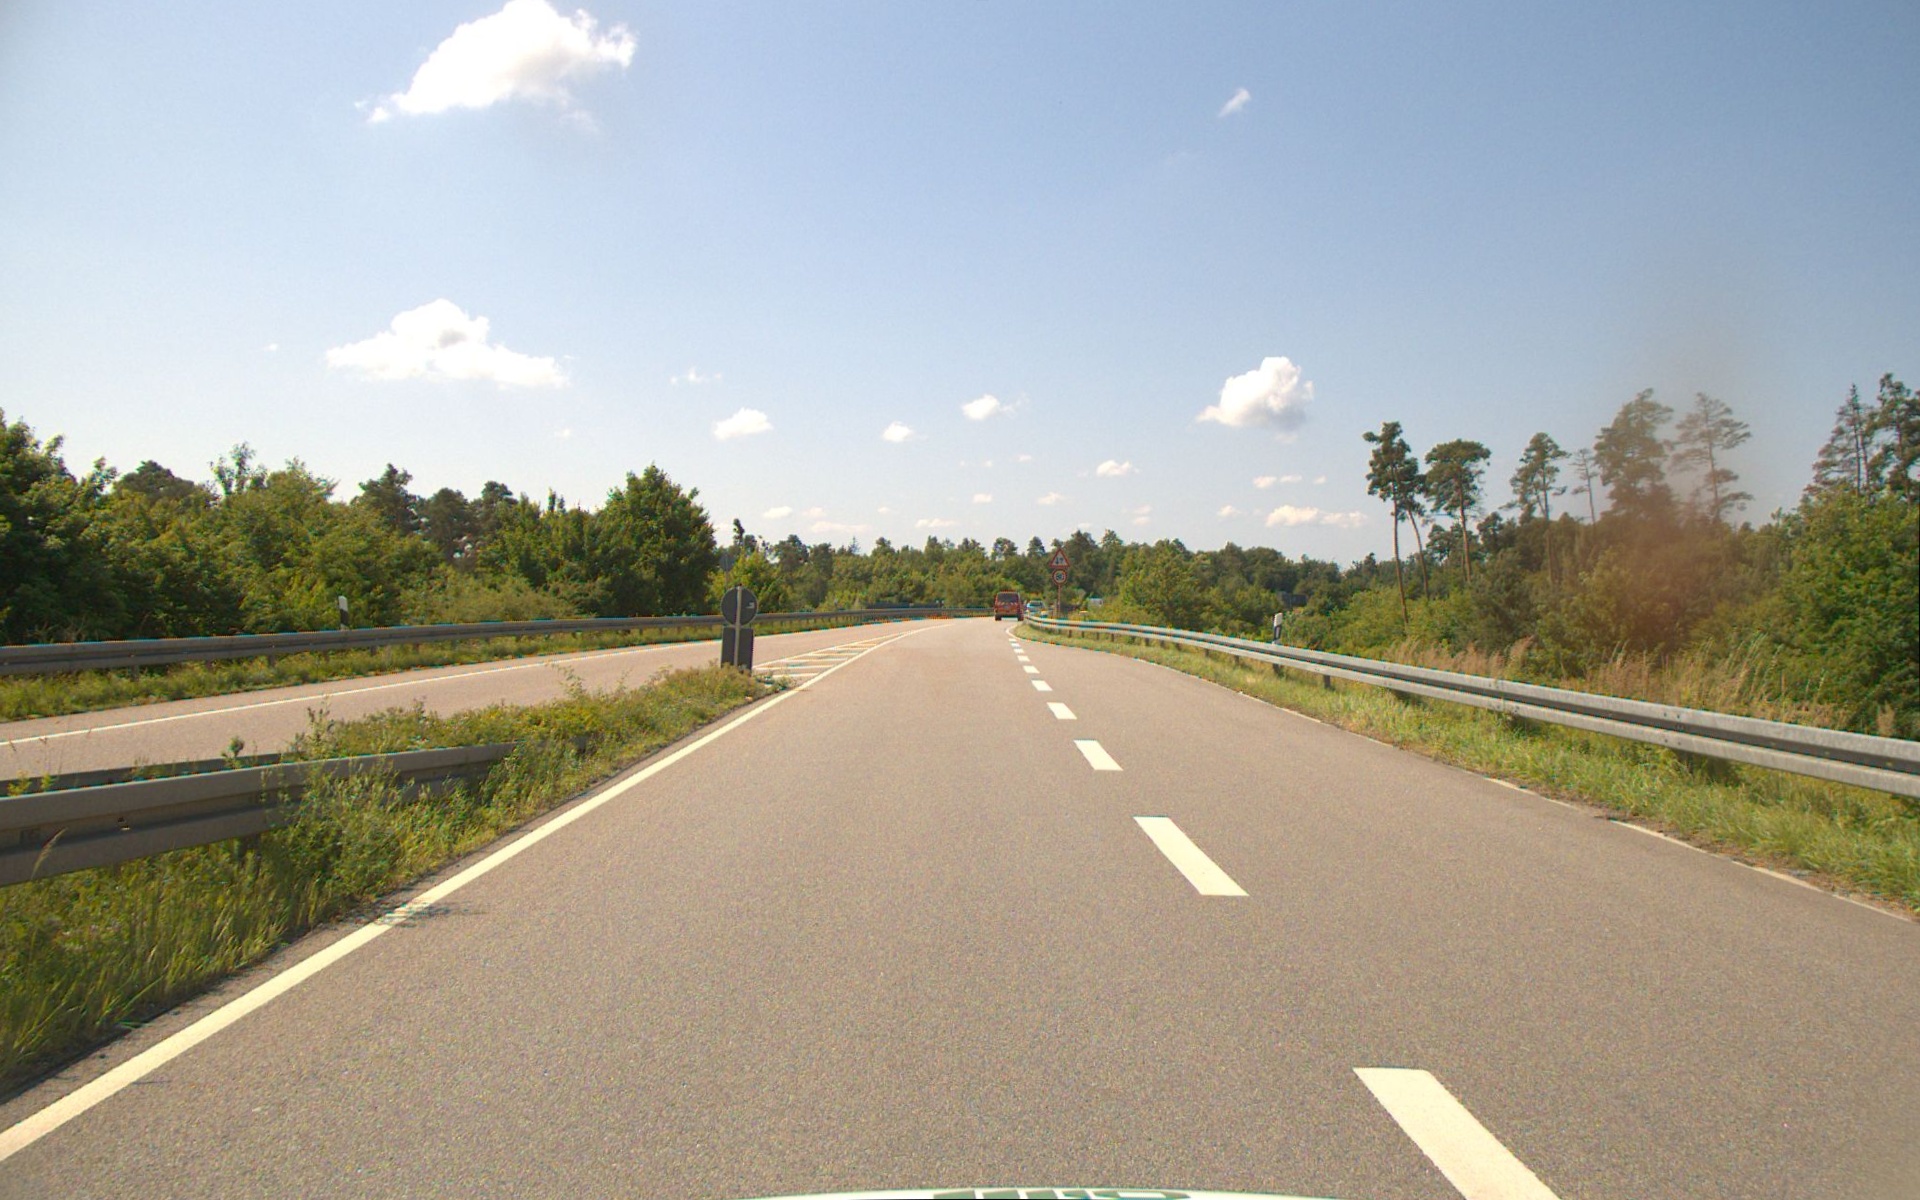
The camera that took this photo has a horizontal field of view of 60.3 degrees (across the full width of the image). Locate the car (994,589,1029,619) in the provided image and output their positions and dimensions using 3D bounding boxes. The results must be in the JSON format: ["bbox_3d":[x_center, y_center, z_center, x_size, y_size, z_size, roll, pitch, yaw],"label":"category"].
[{"bbox_3d":[3.663,0.326,116.634,2.033,2.028,5.115,1,-1,6],"label":"car"}]

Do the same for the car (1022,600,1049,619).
[{"bbox_3d":[6.317,0.816,138.293,1.965,1.520,4.241,1,-1,6],"label":"car"}]
